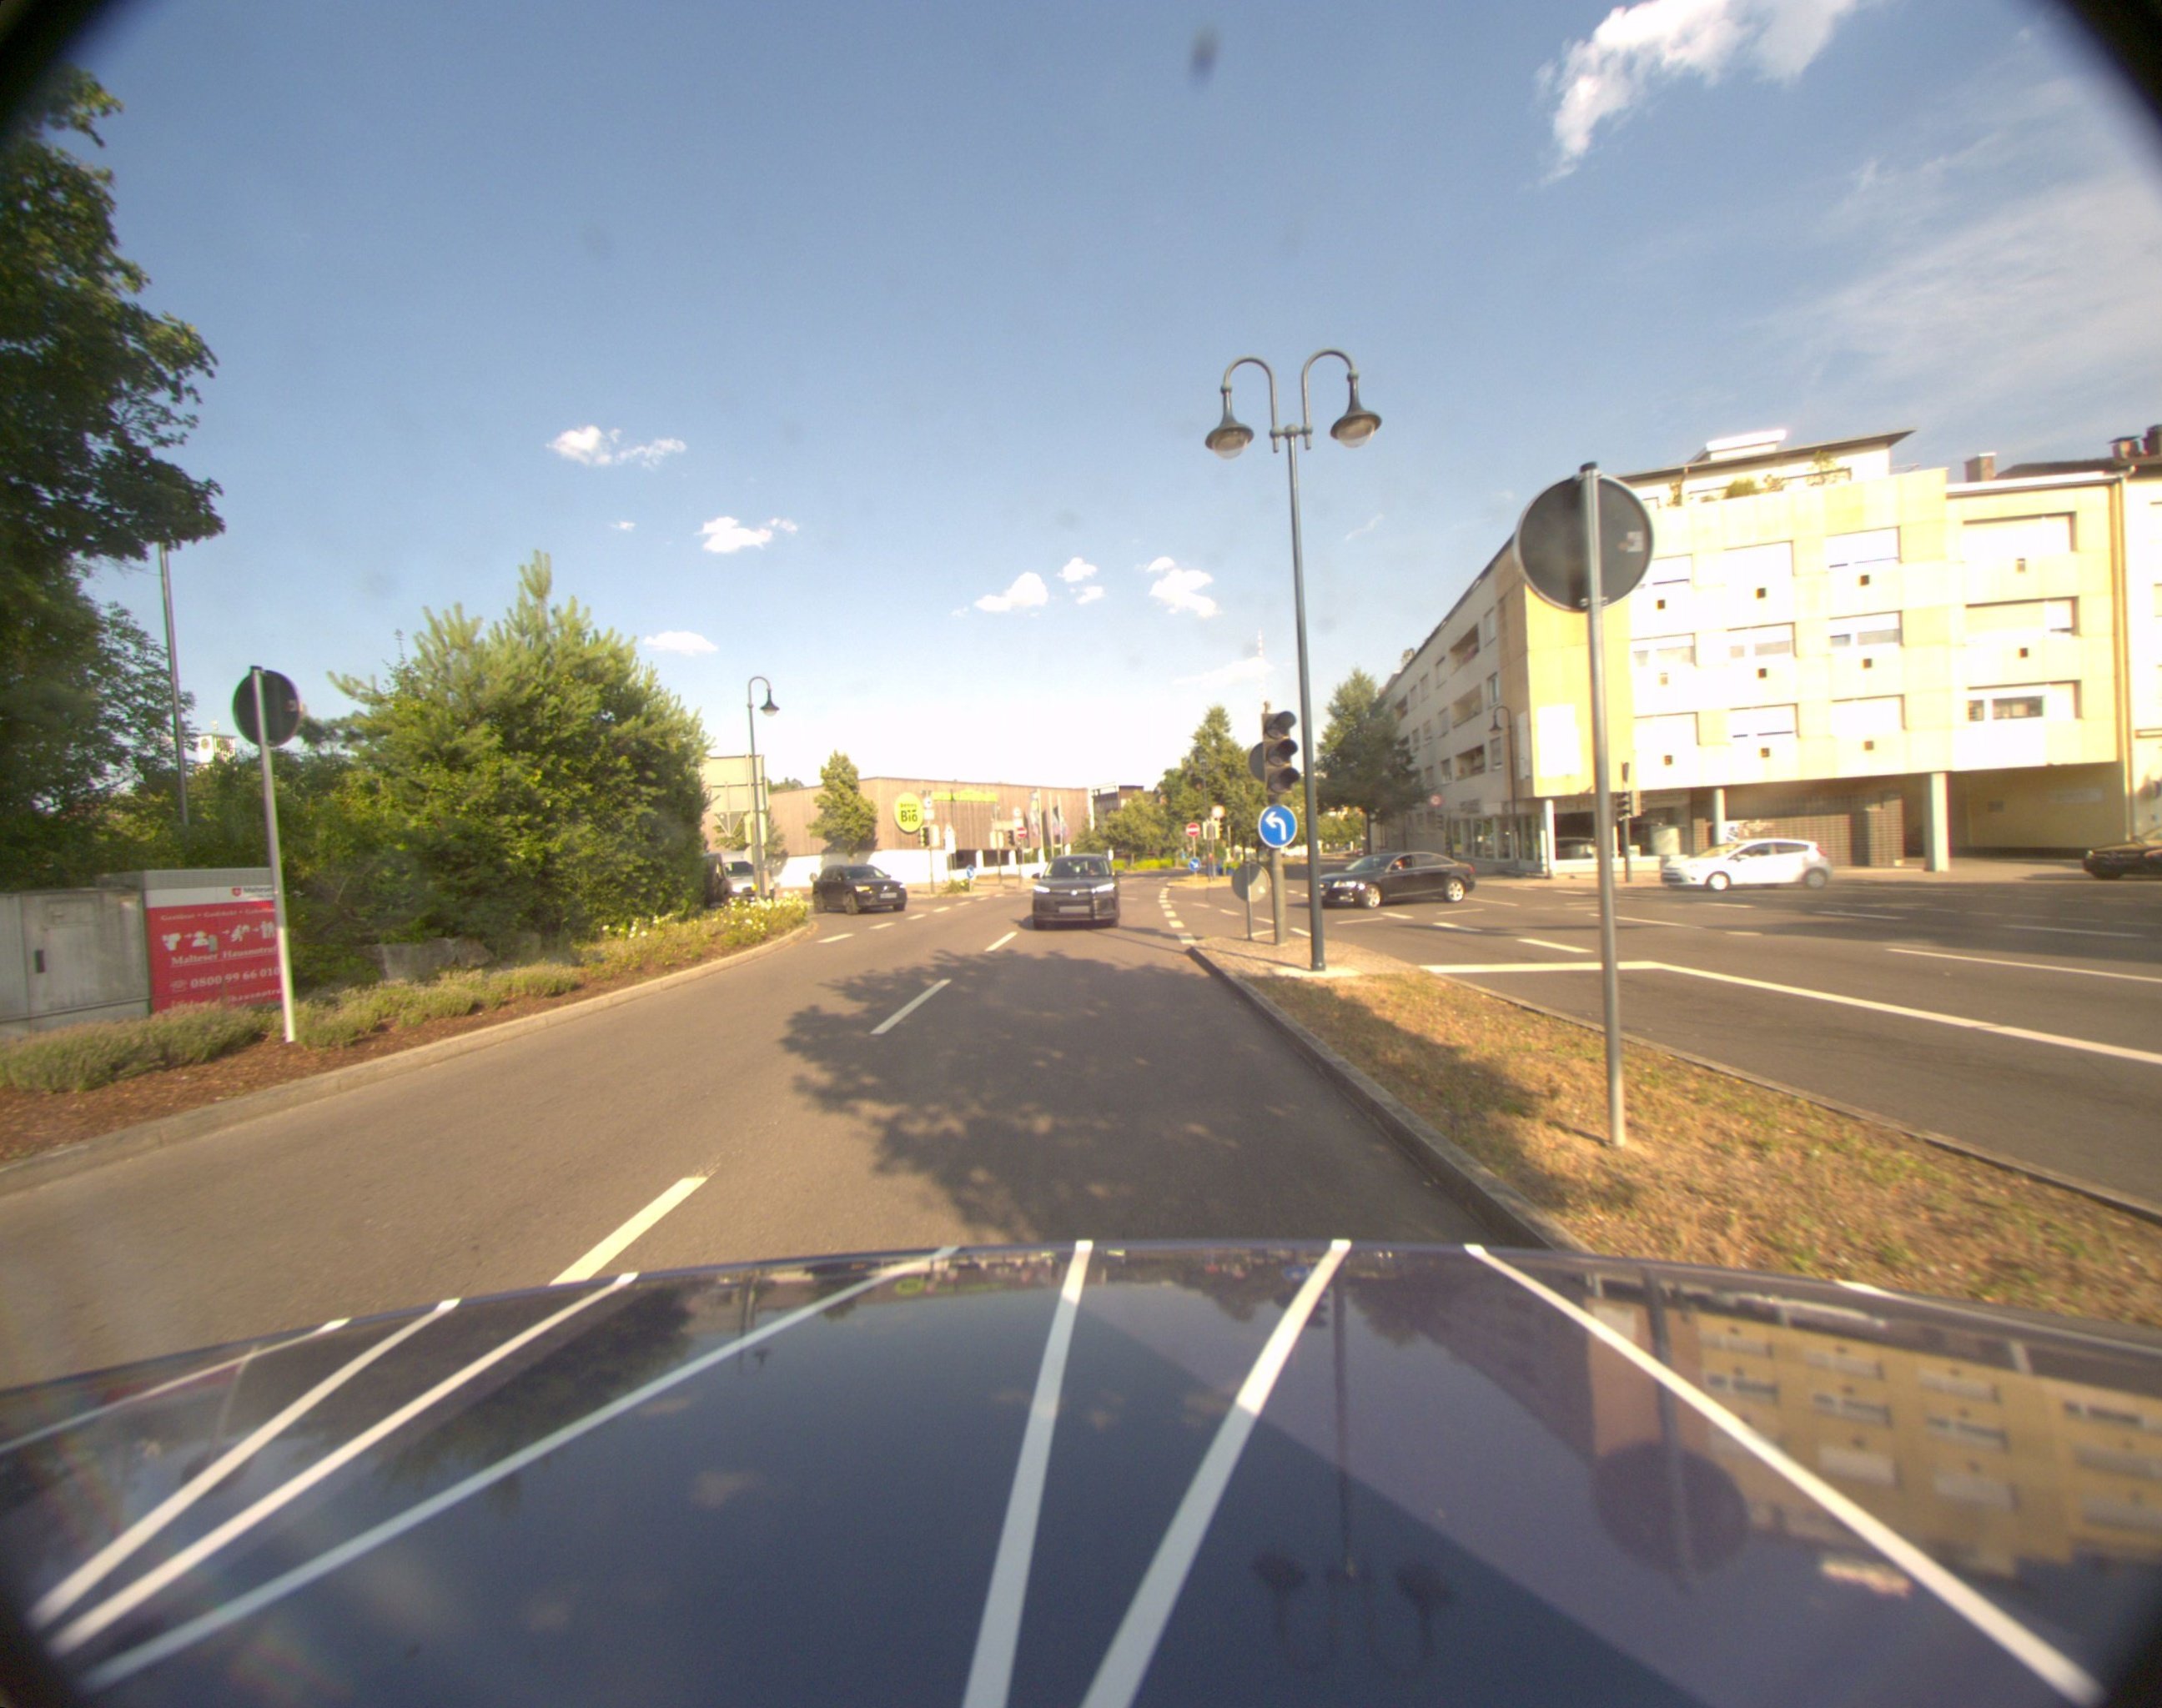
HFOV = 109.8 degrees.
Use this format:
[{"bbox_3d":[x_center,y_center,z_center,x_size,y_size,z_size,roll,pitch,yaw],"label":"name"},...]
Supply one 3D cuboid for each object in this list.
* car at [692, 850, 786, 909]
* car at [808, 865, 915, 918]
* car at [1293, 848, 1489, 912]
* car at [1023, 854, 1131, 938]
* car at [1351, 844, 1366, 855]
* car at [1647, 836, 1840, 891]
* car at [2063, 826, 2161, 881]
[{"bbox_3d":[-15.979,1.159,35.306,2.198,2.506,5.844,-2,0,-42],"label":"car"},{"bbox_3d":[-7.421,1.195,25.409,1.796,1.558,4.260,-2,0,-40],"label":"car"},{"bbox_3d":[8.320,0.636,20.365,4.879,1.428,1.914,-2,0,-22],"label":"car"},{"bbox_3d":[0.052,0.843,17.252,1.724,1.605,4.263,-1,1,9],"label":"car"},{"bbox_3d":[48.167,-0.754,131.899,1.854,1.726,4.931,-1,0,26],"label":"car"},{"bbox_3d":[18.992,0.277,21.946,3.820,1.428,1.868,-2,0,6],"label":"car"},{"bbox_3d":[29.723,-0.050,20.651,3.588,1.428,1.749,-2,1,5],"label":"car"}]
